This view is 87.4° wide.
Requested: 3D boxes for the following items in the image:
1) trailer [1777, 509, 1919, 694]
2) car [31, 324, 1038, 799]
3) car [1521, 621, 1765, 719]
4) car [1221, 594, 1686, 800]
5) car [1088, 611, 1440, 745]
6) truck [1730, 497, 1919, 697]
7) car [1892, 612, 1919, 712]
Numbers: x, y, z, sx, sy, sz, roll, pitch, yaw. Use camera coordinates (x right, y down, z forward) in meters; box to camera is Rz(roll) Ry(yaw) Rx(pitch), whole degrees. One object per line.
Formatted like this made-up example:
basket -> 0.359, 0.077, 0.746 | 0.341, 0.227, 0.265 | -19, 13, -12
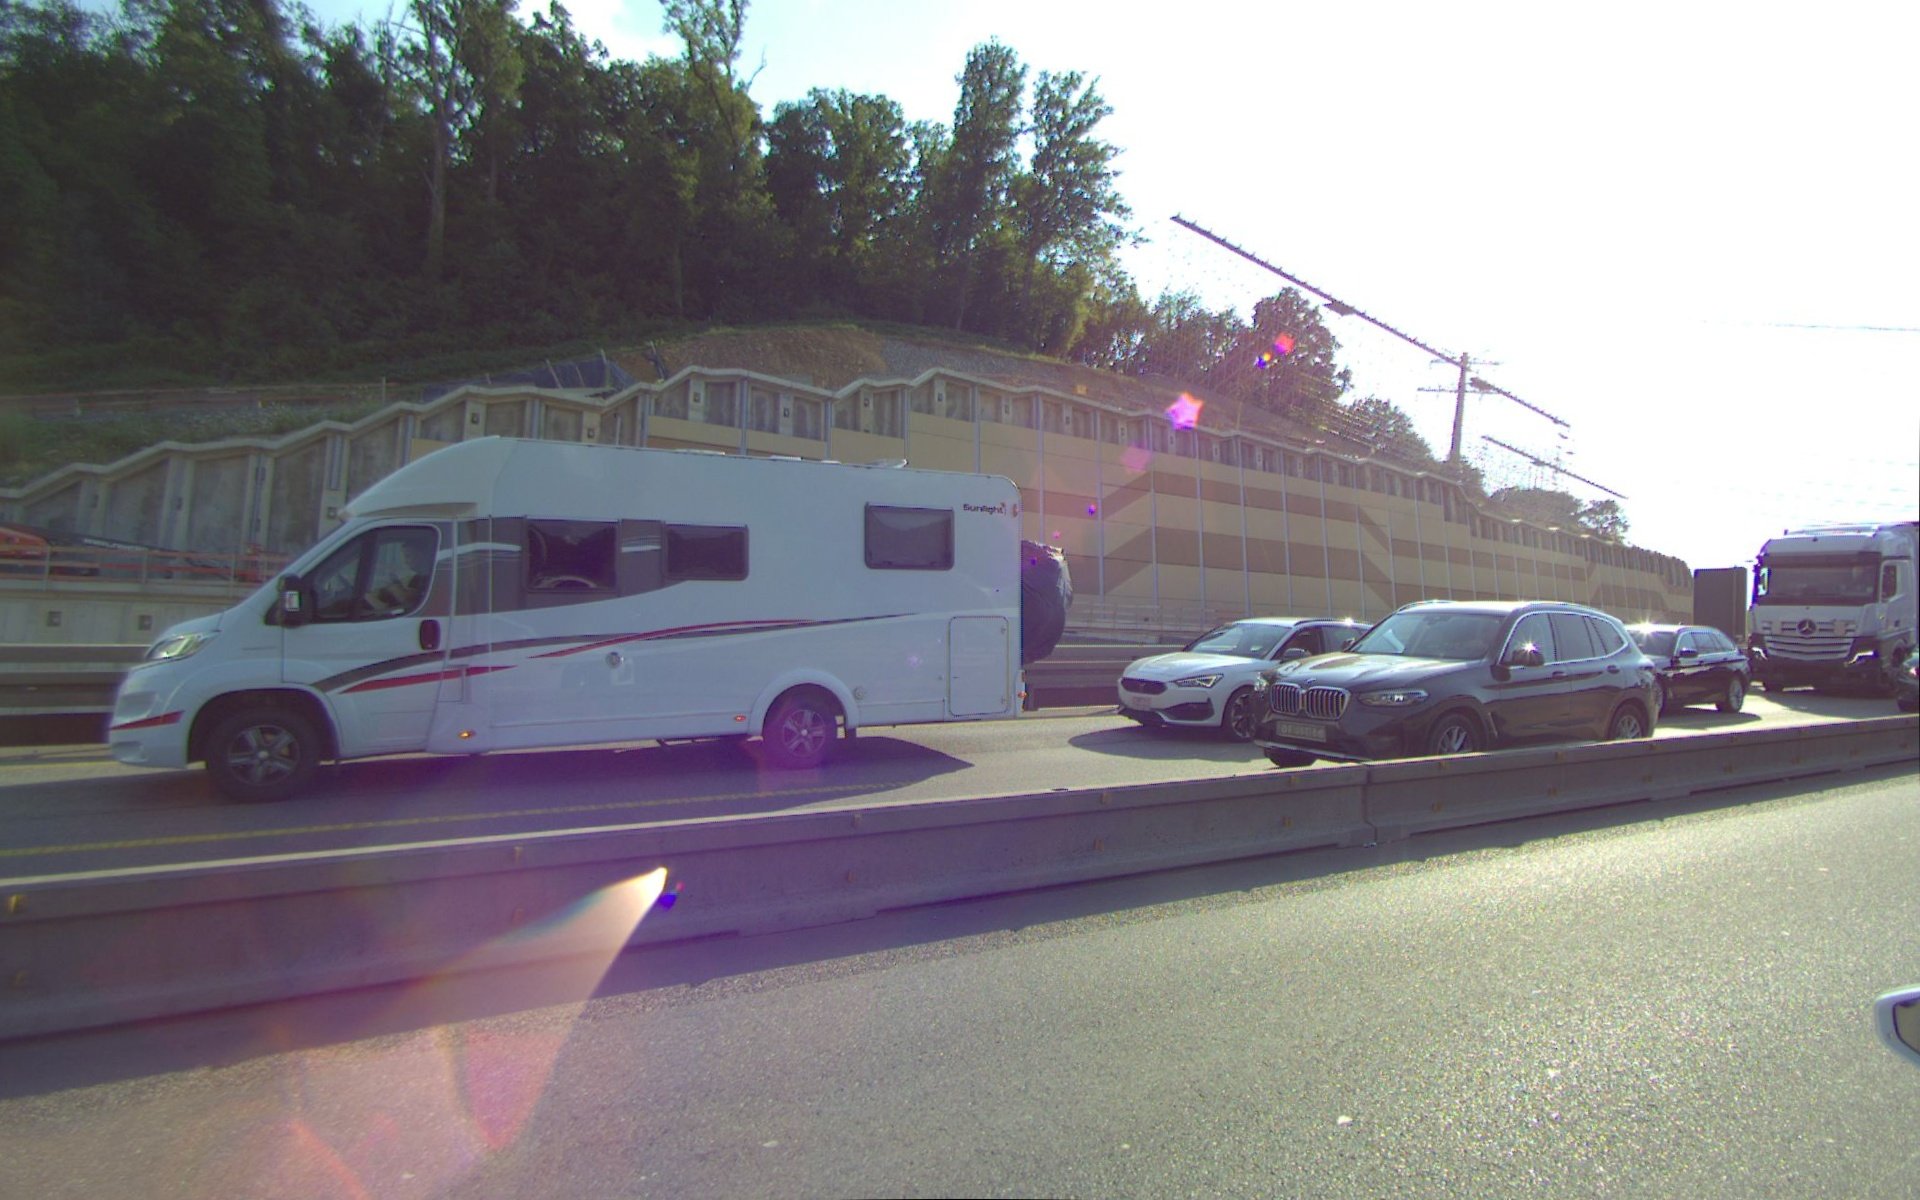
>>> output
trailer -> 27.103, 0.212, 28.054 | 13.604, 4.274, 2.704 | 2, -1, -34
car -> -3.055, -0.106, 9.189 | 7.544, 2.956, 2.323 | 2, -1, -31
car -> 11.932, 1.161, 17.453 | 4.660, 1.479, 1.734 | 2, -1, -31
car -> 4.909, 0.794, 9.800 | 4.699, 1.600, 1.808 | 0, -2, -31
car -> 4.012, 0.940, 13.022 | 4.557, 1.441, 1.740 | 2, 0, -31
truck -> 21.291, 0.016, 24.159 | 5.623, 4.274, 2.696 | 2, 0, -34
car -> 19.950, 1.143, 19.287 | 5.395, 1.796, 1.794 | 0, 1, -34
